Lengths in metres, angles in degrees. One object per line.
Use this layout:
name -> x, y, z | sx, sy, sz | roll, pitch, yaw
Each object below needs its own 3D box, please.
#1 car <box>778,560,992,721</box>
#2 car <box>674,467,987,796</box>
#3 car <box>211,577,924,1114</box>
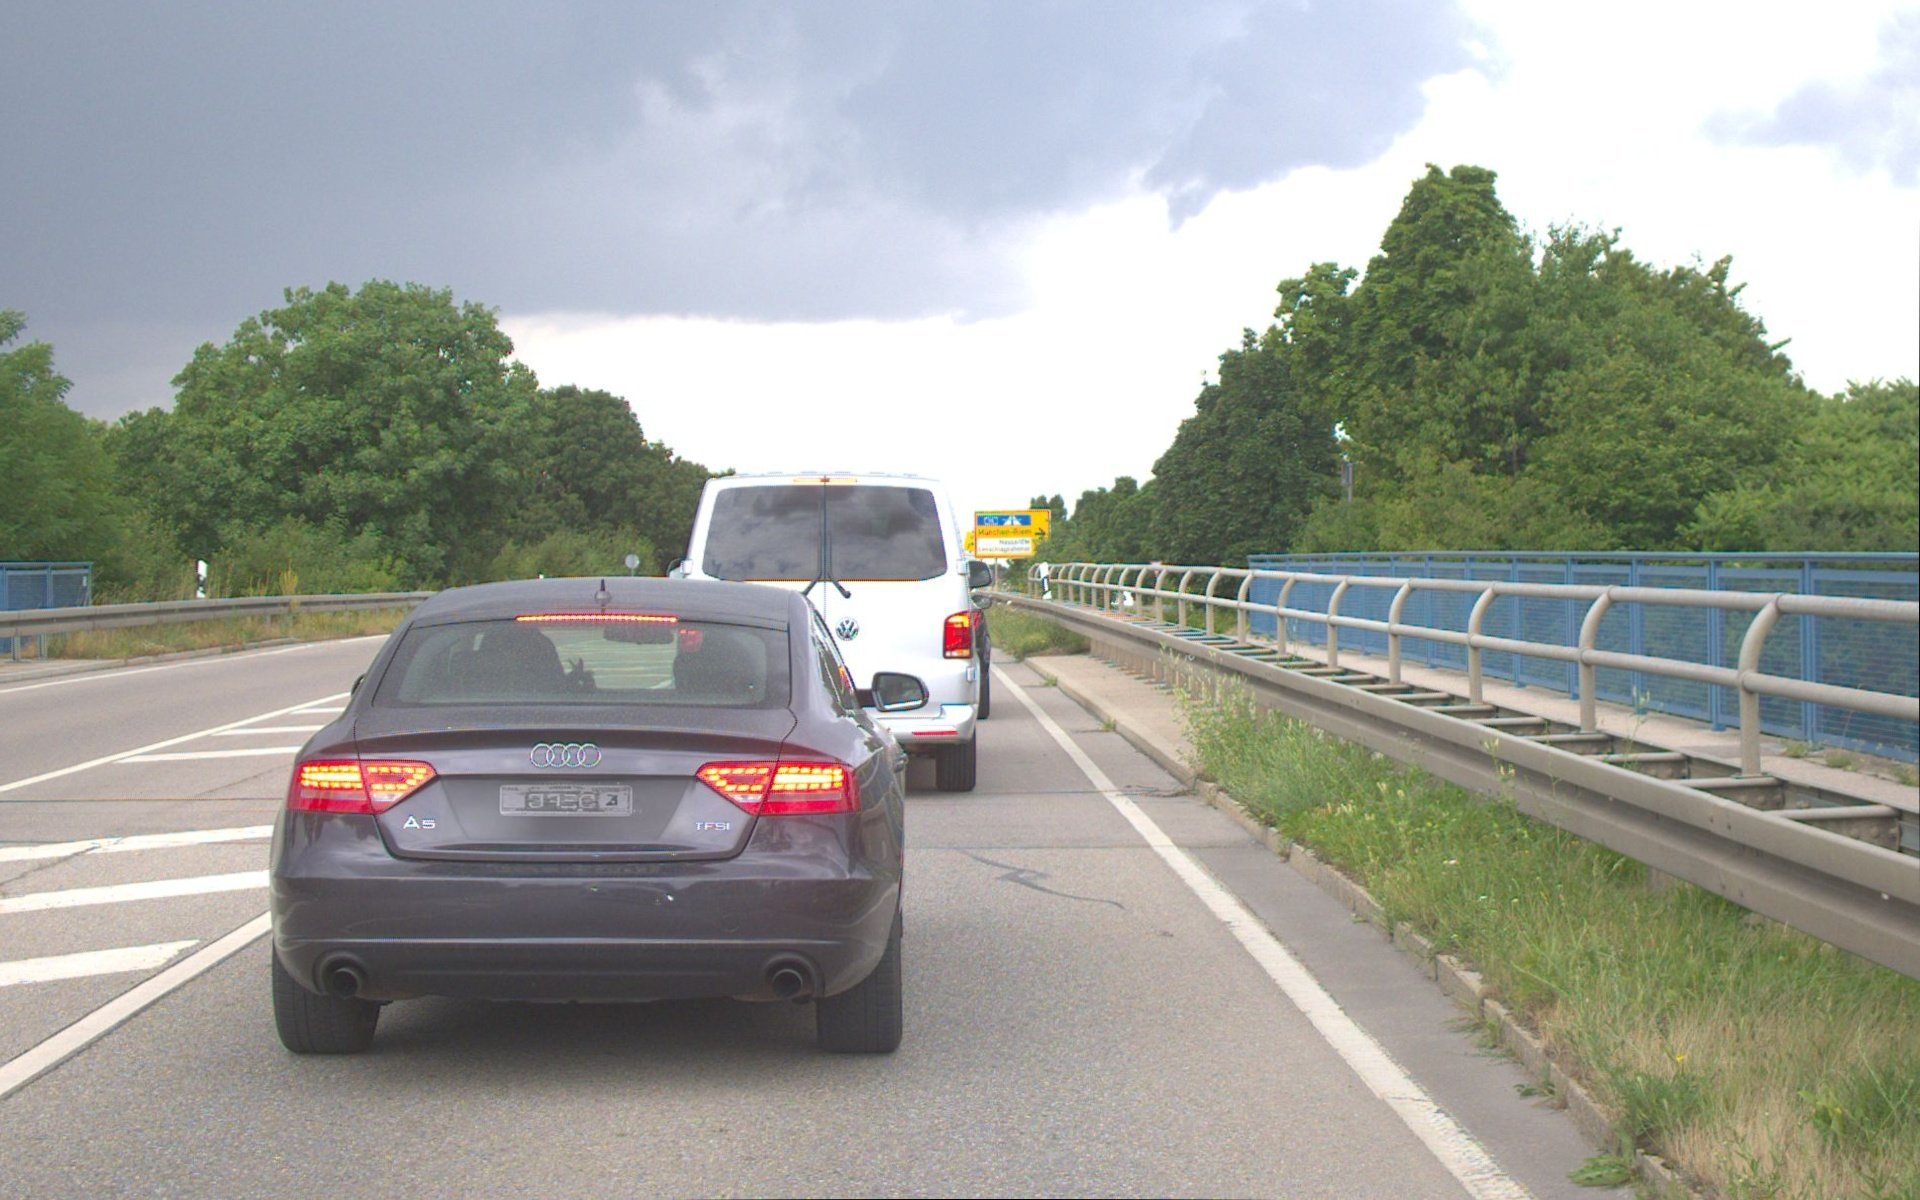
car -> -0.641, 0.323, 31.347 | 1.821, 1.376, 4.072 | 0, 1, 0
car -> -0.804, 0.161, 22.249 | 1.828, 1.929, 4.000 | 0, 1, -1
car -> -1.053, 0.631, 11.065 | 1.821, 1.376, 4.072 | 0, 1, 0
